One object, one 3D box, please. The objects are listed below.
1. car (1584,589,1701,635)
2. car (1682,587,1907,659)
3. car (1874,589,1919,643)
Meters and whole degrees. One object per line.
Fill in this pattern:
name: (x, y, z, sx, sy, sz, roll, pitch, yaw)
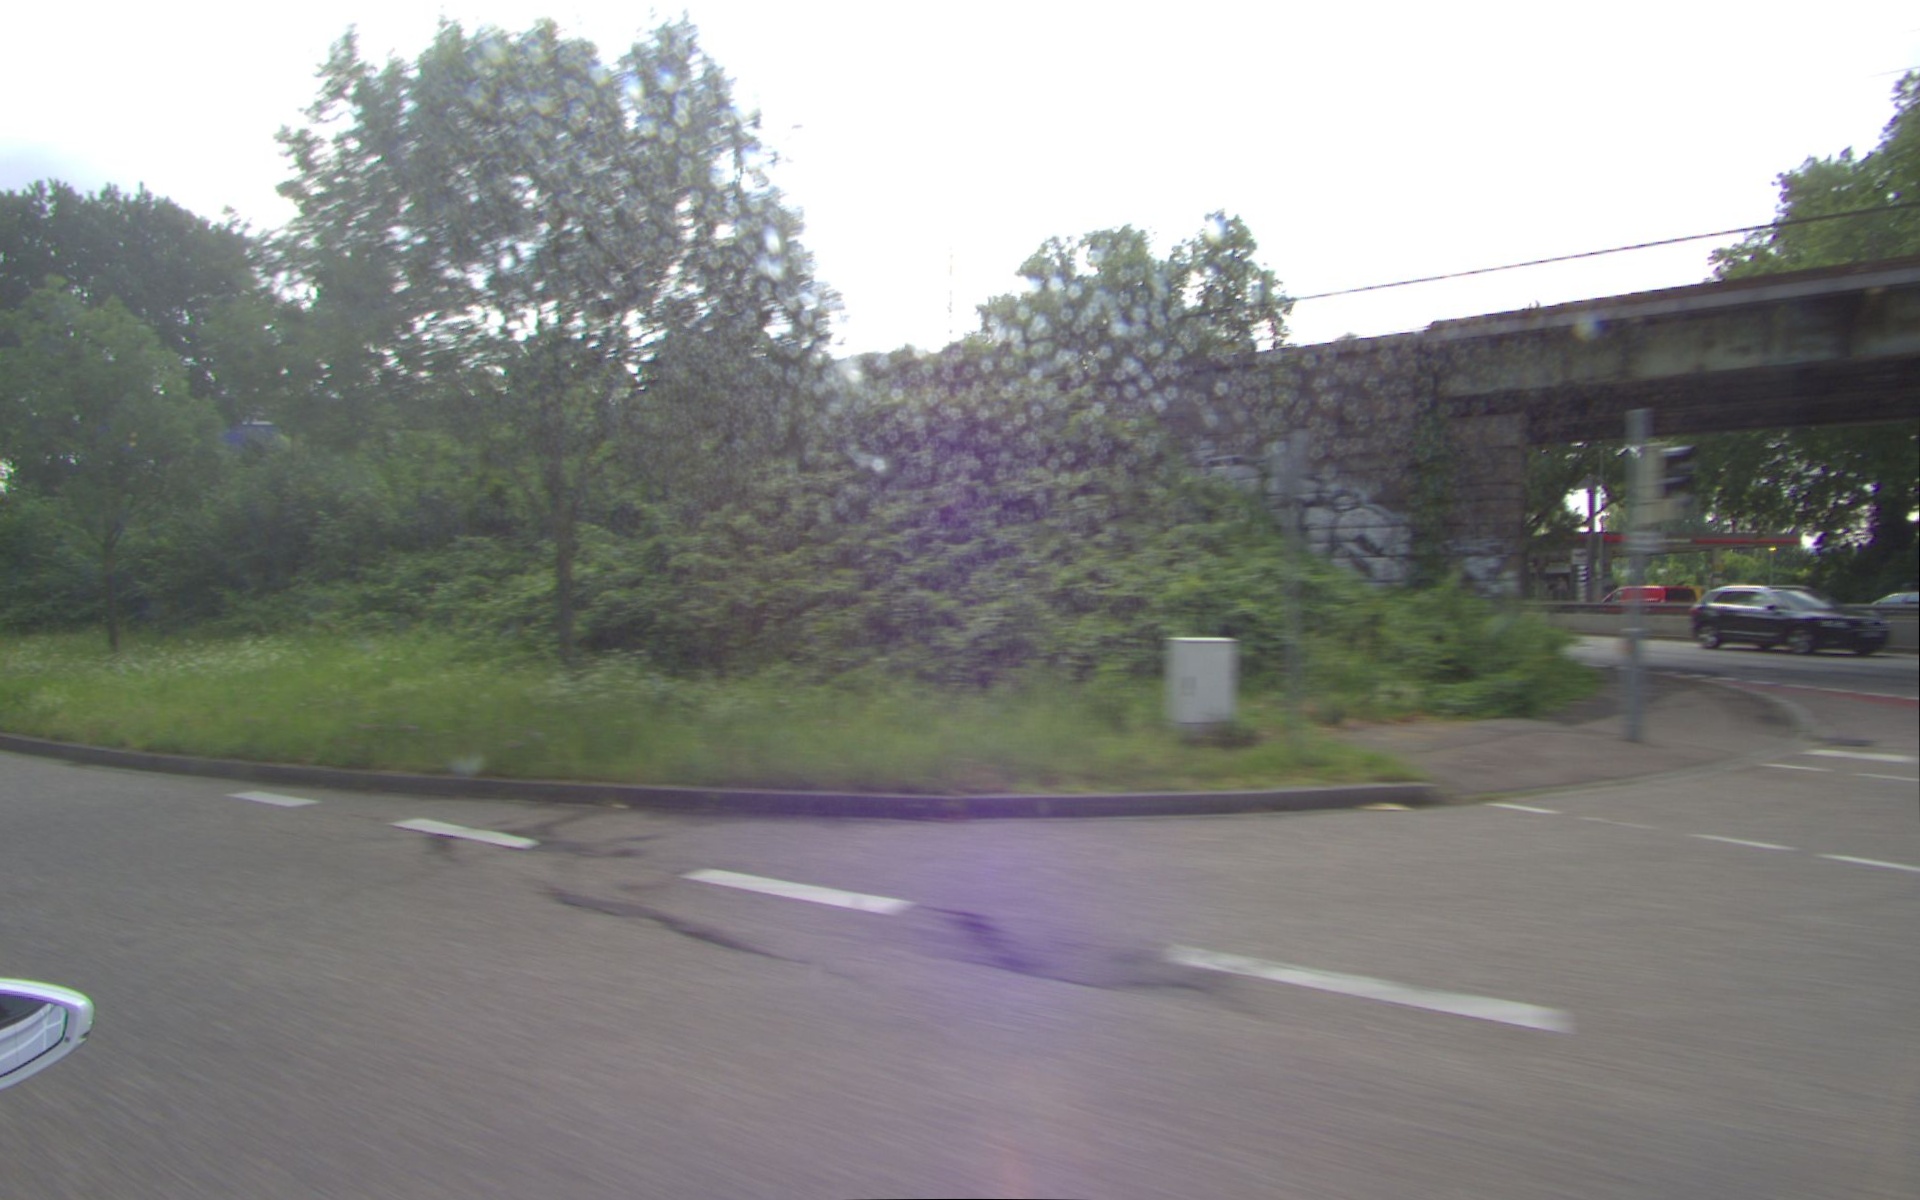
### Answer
car: (31.579, 0.551, 46.529, 1.924, 2.043, 4.675, 0, 0, -7)
car: (20.417, 0.561, 24.776, 1.818, 1.596, 4.317, -1, -1, -3)
car: (35.047, 0.564, 34.977, 1.962, 1.926, 4.508, 0, 0, -3)
